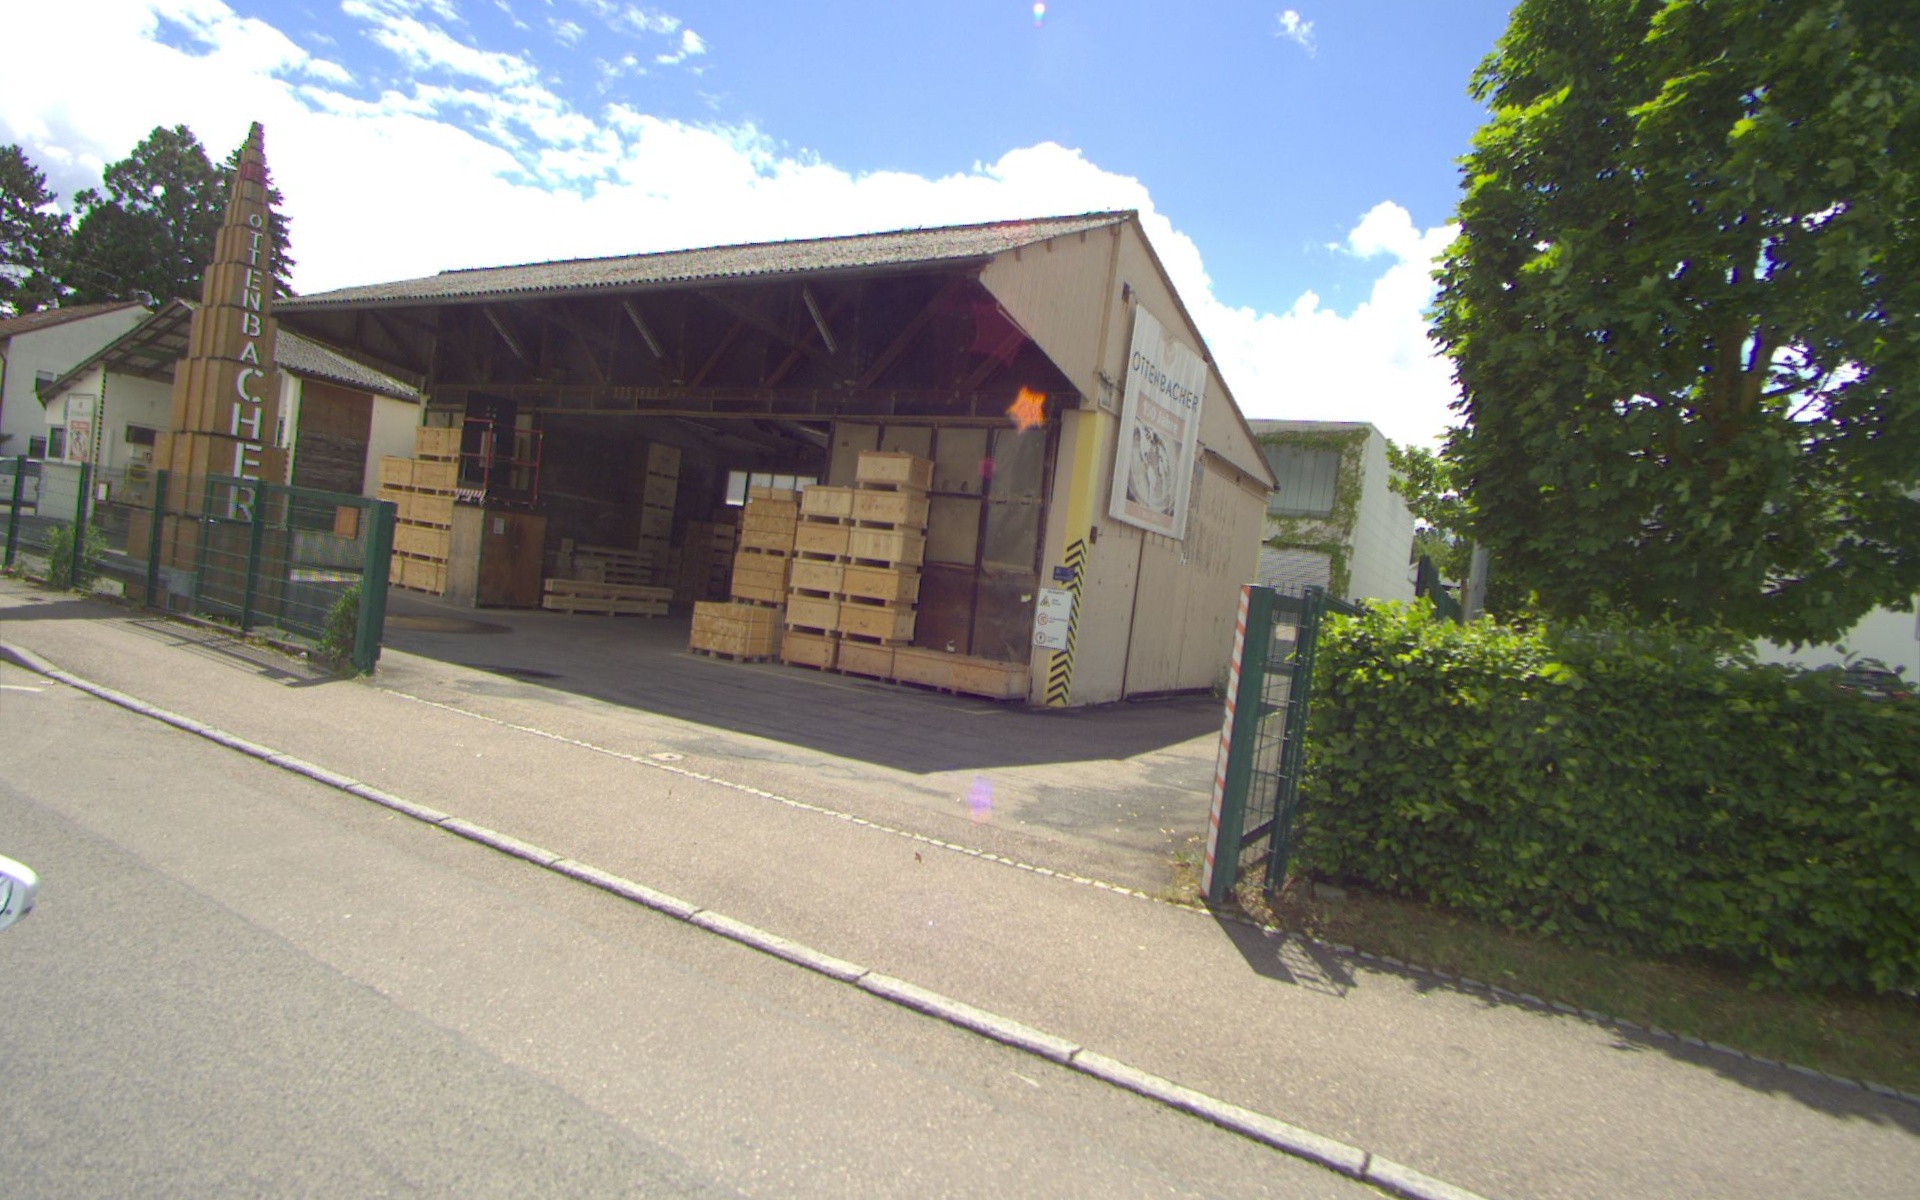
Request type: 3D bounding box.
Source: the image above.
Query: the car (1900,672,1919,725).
[{"bbox_3d":[27.938,2.884,27.865,1.789,1.527,3.992,8,0,31],"label":"car"}]

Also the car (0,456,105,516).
[{"bbox_3d":[-38.023,-4.719,40.574,1.968,1.954,5.016,8,2,34],"label":"car"}]

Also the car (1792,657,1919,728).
[{"bbox_3d":[25.436,2.591,28.726,1.789,1.643,3.992,8,1,31],"label":"car"}]

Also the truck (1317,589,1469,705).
[{"bbox_3d":[15.614,1.907,35.527,2.930,2.897,12.006,8,-2,32],"label":"truck"}]
